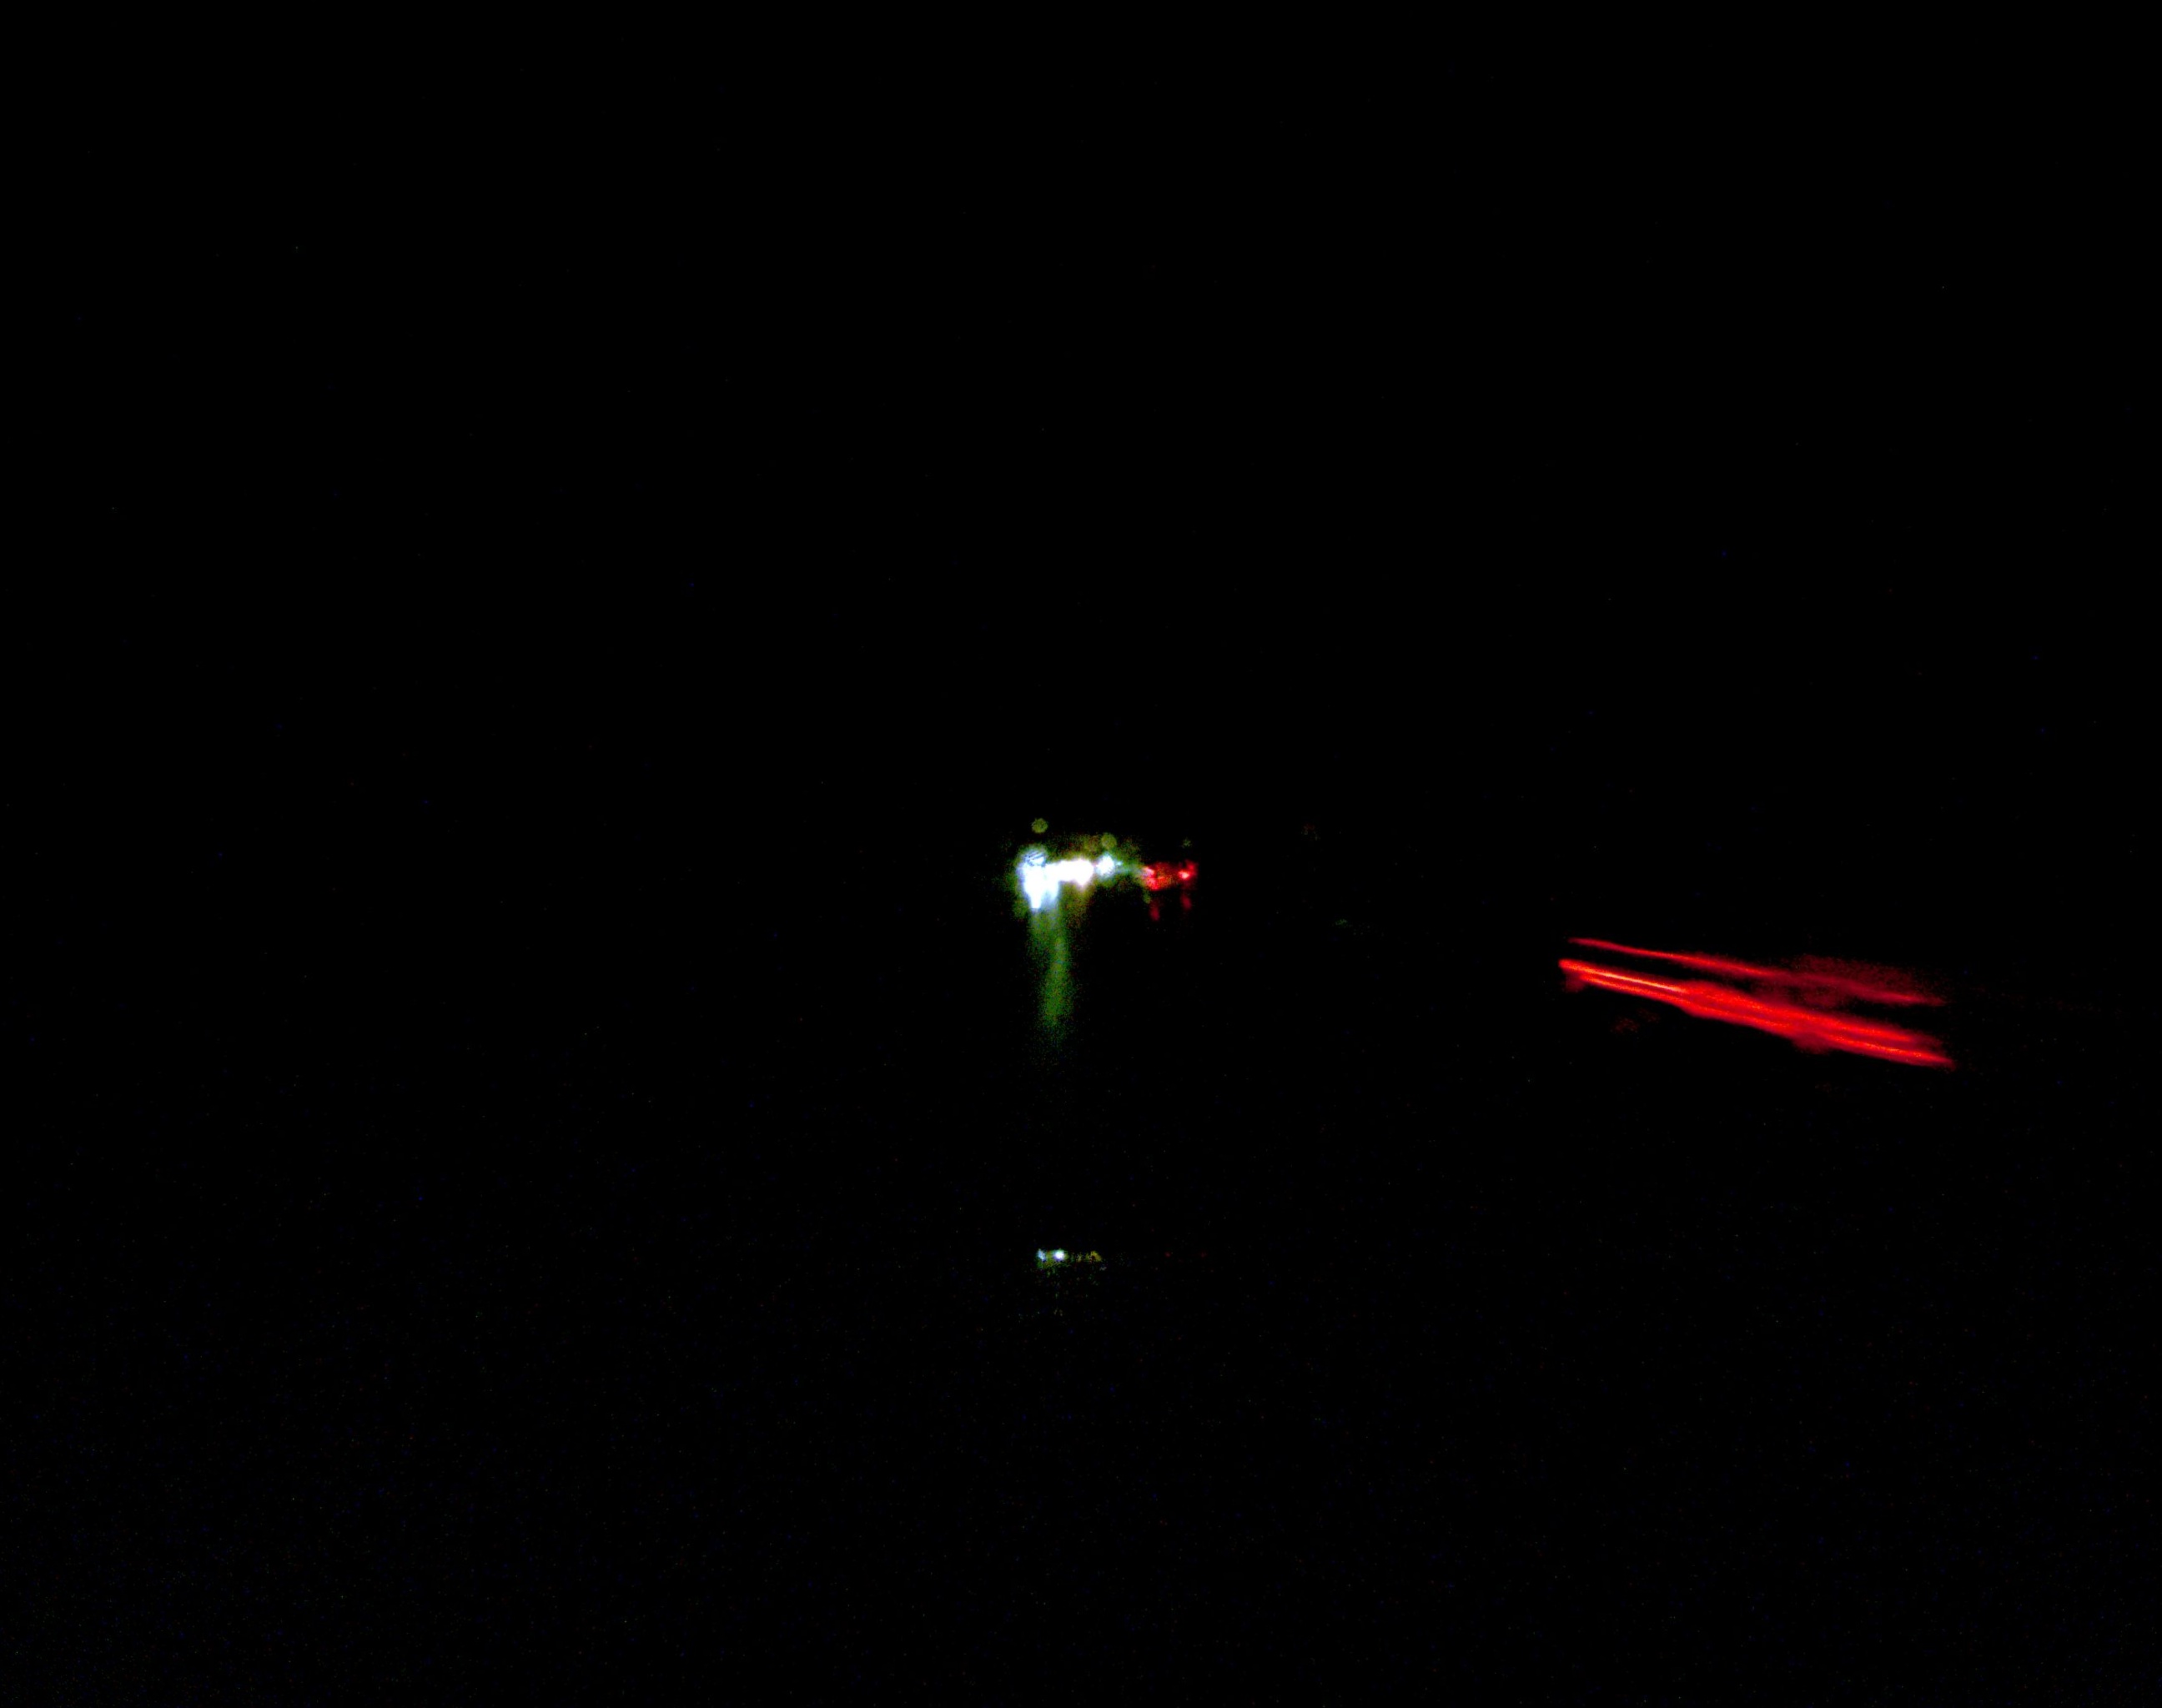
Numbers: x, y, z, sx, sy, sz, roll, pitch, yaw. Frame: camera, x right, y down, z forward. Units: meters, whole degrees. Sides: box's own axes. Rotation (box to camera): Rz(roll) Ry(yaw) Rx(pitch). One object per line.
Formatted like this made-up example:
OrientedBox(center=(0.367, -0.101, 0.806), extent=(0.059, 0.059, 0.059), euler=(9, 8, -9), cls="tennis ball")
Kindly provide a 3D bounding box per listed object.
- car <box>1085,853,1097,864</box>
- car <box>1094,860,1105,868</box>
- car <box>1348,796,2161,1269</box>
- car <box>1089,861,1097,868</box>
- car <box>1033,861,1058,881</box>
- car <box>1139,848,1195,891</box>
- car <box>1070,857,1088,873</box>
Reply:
OrientedBox(center=(1.691, 0.741, 128.064), extent=(1.998, 1.576, 4.000), euler=(-4, 0, 0), cls="car")
OrientedBox(center=(3.534, 1.892, 145.218), extent=(1.999, 1.465, 4.275), euler=(-3, 0, -1), cls="car")
OrientedBox(center=(3.366, 0.653, 4.847), extent=(1.795, 1.681, 3.999), euler=(-3, 0, -1), cls="car")
OrientedBox(center=(3.296, 2.780, 204.013), extent=(1.998, 1.576, 4.000), euler=(-4, 0, 0), cls="car")
OrientedBox(center=(-3.045, 1.436, 66.009), extent=(1.999, 1.575, 4.000), euler=(-3, 0, 0), cls="car")
OrientedBox(center=(3.567, 0.611, 32.220), extent=(1.904, 1.635, 3.791), euler=(-3, 0, 1), cls="car")
OrientedBox(center=(-0.214, 1.209, 86.402), extent=(1.998, 1.576, 4.000), euler=(-4, 0, 0), cls="car")
